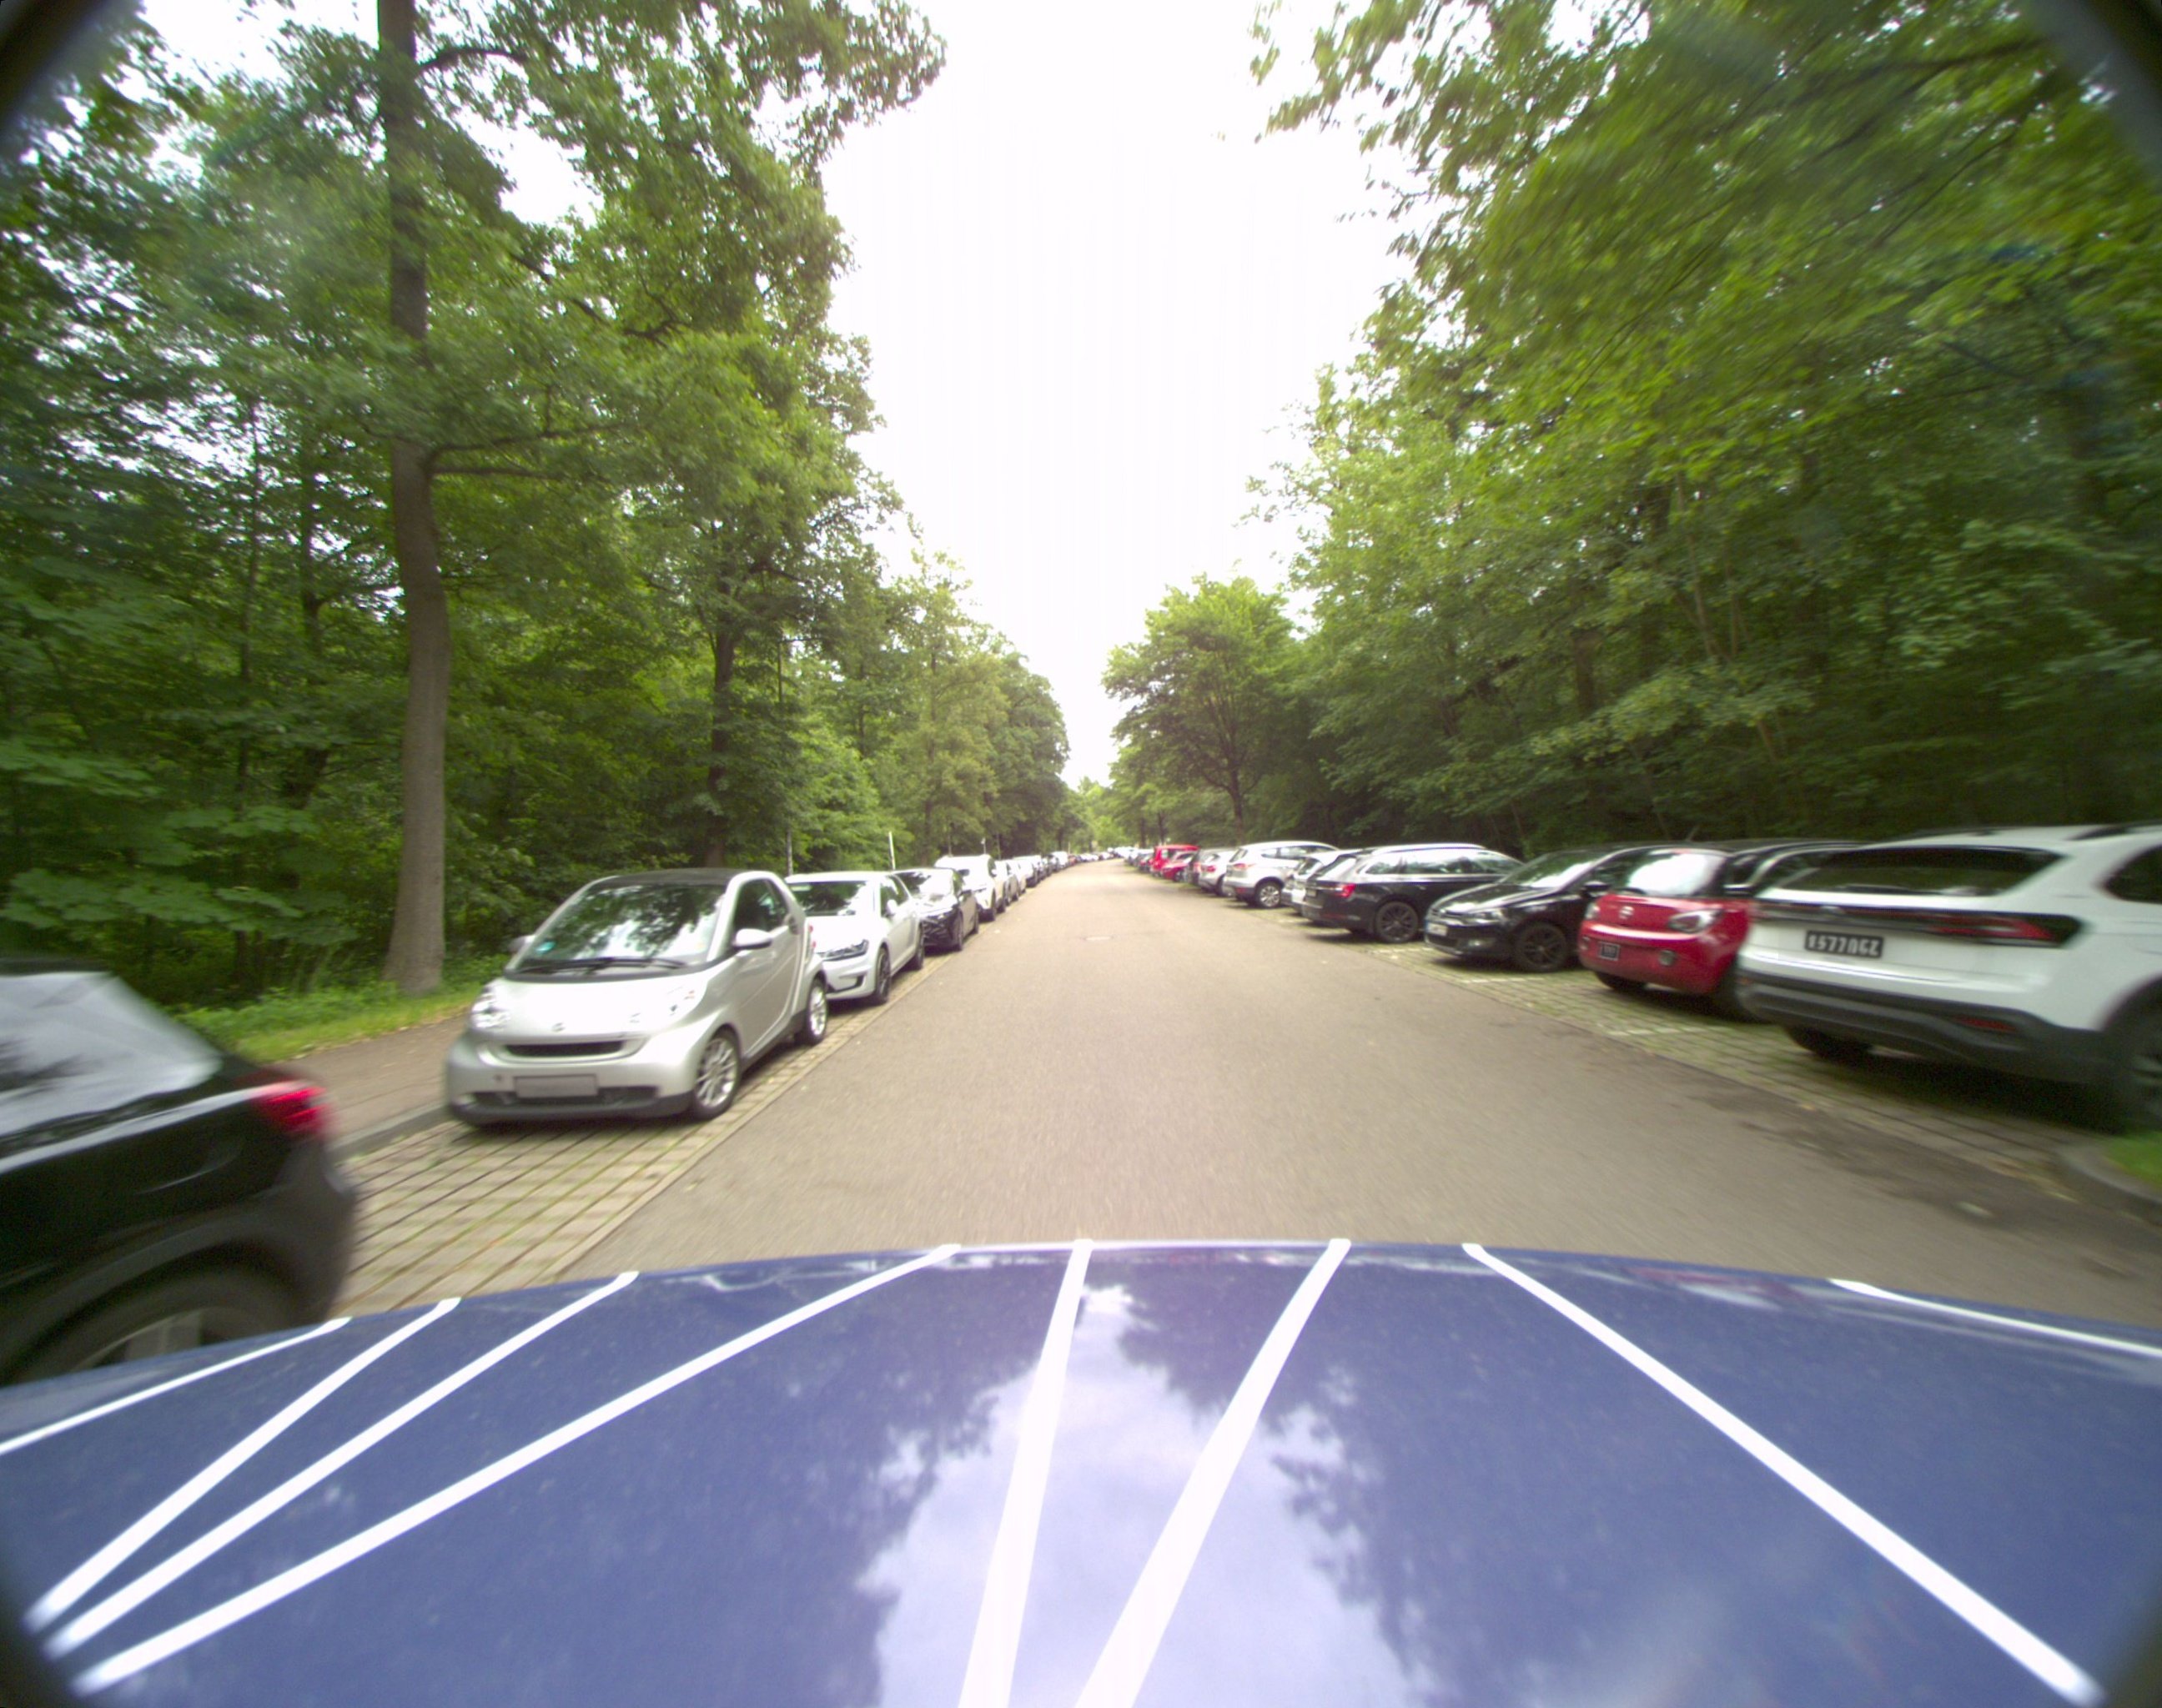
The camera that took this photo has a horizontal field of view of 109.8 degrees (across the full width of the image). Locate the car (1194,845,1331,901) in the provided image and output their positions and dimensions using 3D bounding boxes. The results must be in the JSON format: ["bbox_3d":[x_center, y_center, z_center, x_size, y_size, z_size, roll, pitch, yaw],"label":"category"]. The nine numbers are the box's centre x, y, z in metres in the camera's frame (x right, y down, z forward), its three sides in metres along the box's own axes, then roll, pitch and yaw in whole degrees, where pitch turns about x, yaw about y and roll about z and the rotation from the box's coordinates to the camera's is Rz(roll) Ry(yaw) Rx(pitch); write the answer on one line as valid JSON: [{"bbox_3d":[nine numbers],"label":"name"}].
[{"bbox_3d":[5.815,0.594,24.630,3.997,1.652,1.814,-1,1,1],"label":"car"}]

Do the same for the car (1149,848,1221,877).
[{"bbox_3d":[6.051,0.478,44.672,3.996,1.588,1.742,-2,1,2],"label":"car"}]

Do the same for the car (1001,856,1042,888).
[{"bbox_3d":[-2.969,0.887,38.753,1.741,1.426,4.744,-3,0,-1],"label":"car"}]

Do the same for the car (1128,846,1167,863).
[{"bbox_3d":[7.185,0.027,82.214,3.998,1.699,1.713,-1,1,-3],"label":"car"}]

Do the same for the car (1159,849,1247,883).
[{"bbox_3d":[5.892,0.557,37.061,3.997,1.507,1.771,-2,1,0],"label":"car"}]

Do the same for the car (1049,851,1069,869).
[{"bbox_3d":[-2.197,0.551,76.572,1.580,1.610,3.963,-6,0,3],"label":"car"}]

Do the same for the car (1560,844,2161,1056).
[{"bbox_3d":[6.734,0.734,6.606,3.996,1.427,1.702,-3,0,2],"label":"car"}]

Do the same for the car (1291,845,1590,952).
[{"bbox_3d":[5.631,0.678,12.275,3.996,1.427,1.677,-3,0,2],"label":"car"}]

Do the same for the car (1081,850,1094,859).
[{"bbox_3d":[1.038,0.055,118.265,1.501,1.331,3.434,-3,0,8],"label":"car"}]

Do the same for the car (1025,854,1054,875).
[{"bbox_3d":[-2.987,0.736,55.223,1.824,1.433,4.000,-2,0,0],"label":"car"}]

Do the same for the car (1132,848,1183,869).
[{"bbox_3d":[6.500,0.381,64.515,3.998,1.508,1.713,-3,1,-5],"label":"car"}]

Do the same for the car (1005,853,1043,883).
[{"bbox_3d":[-3.232,0.766,43.820,1.843,1.551,4.423,-3,0,-1],"label":"car"}]

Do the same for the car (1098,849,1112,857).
[{"bbox_3d":[4.367,-0.263,139.576,1.771,1.308,3.893,-3,1,13],"label":"car"}]

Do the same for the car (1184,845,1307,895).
[{"bbox_3d":[5.807,0.552,27.098,3.997,1.652,1.696,-1,1,-1],"label":"car"}]

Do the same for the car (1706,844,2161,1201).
[{"bbox_3d":[6.219,0.719,4.251,3.997,1.459,1.715,-3,0,0],"label":"car"}]

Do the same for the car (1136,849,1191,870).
[{"bbox_3d":[6.423,0.421,59.527,4.220,1.448,1.818,-2,0,4],"label":"car"}]

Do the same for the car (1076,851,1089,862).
[{"bbox_3d":[0.246,0.316,113.041,1.501,1.470,3.668,-3,0,8],"label":"car"}]

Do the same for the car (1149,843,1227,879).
[{"bbox_3d":[5.889,0.387,42.002,3.997,1.804,1.818,-2,1,0],"label":"car"}]

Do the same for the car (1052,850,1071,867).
[{"bbox_3d":[-2.053,0.430,82.453,1.642,1.742,4.054,-3,0,3],"label":"car"}]

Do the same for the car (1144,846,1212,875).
[{"bbox_3d":[5.947,0.404,46.920,3.996,1.588,1.742,-3,0,2],"label":"car"}]

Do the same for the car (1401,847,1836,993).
[{"bbox_3d":[6.256,0.730,9.200,3.996,1.427,1.677,-3,0,2],"label":"car"}]

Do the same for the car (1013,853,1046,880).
[{"bbox_3d":[-3.310,0.767,49.343,1.907,1.577,4.480,-3,0,-1],"label":"car"}]

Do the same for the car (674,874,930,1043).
[{"bbox_3d":[-3.072,1.052,9.346,1.741,1.417,4.153,-3,0,-3],"label":"car"}]

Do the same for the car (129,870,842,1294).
[{"bbox_3d":[-3.064,0.976,5.146,1.741,1.559,4.007,-3,0,-3],"label":"car"}]

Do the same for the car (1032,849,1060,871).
[{"bbox_3d":[-2.957,0.509,65.795,1.909,1.713,4.486,-3,0,3],"label":"car"}]

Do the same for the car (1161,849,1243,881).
[{"bbox_3d":[6.331,0.552,40.021,3.997,1.507,1.818,-2,1,0],"label":"car"}]

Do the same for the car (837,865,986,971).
[{"bbox_3d":[-2.896,1.013,14.005,1.741,1.465,4.604,-3,0,-1],"label":"car"}]

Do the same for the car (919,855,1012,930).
[{"bbox_3d":[-2.908,0.897,20.140,1.741,1.634,5.071,-3,0,-1],"label":"car"}]

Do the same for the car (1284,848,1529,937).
[{"bbox_3d":[6.131,0.701,14.639,3.996,1.427,1.648,-2,2,2],"label":"car"}]

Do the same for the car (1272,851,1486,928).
[{"bbox_3d":[6.534,0.745,16.959,3.997,1.413,1.814,-3,0,-1],"label":"car"}]

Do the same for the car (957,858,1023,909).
[{"bbox_3d":[-3.018,0.941,26.078,1.741,1.471,4.768,-3,0,-1],"label":"car"}]

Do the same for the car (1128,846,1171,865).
[{"bbox_3d":[6.690,0.110,74.579,3.998,1.717,1.713,-1,1,-3],"label":"car"}]

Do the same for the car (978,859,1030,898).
[{"bbox_3d":[-3.139,0.964,31.723,1.741,1.398,4.426,-3,0,-1],"label":"car"}]

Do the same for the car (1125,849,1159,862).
[{"bbox_3d":[7.543,0.178,94.553,3.998,1.469,1.713,-3,0,-3],"label":"car"}]

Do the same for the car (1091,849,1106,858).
[{"bbox_3d":[2.972,-0.066,131.157,1.771,1.308,3.893,-3,1,13],"label":"car"}]

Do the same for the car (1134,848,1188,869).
[{"bbox_3d":[6.506,0.342,62.081,4.222,1.528,1.818,-2,1,0],"label":"car"}]

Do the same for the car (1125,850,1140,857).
[{"bbox_3d":[10.523,-0.093,155.267,1.770,1.308,3.896,-2,0,24],"label":"car"}]

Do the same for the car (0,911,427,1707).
[{"bbox_3d":[-2.900,1.010,0.100,1.740,1.580,4.382,-3,0,0],"label":"car"}]

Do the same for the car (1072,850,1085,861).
[{"bbox_3d":[-0.329,0.212,105.663,1.502,1.470,3.666,-3,0,3],"label":"car"}]

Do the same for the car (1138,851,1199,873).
[{"bbox_3d":[5.987,0.535,52.184,3.996,1.413,1.742,-2,0,3],"label":"car"}]

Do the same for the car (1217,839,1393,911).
[{"bbox_3d":[5.739,0.518,19.787,3.997,1.652,1.814,-2,1,-1],"label":"car"}]

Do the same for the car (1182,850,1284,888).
[{"bbox_3d":[6.306,0.612,31.830,3.996,1.440,1.696,-1,1,3],"label":"car"}]

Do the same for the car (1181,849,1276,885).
[{"bbox_3d":[6.689,0.578,34.727,3.997,1.440,1.771,-2,0,0],"label":"car"}]
